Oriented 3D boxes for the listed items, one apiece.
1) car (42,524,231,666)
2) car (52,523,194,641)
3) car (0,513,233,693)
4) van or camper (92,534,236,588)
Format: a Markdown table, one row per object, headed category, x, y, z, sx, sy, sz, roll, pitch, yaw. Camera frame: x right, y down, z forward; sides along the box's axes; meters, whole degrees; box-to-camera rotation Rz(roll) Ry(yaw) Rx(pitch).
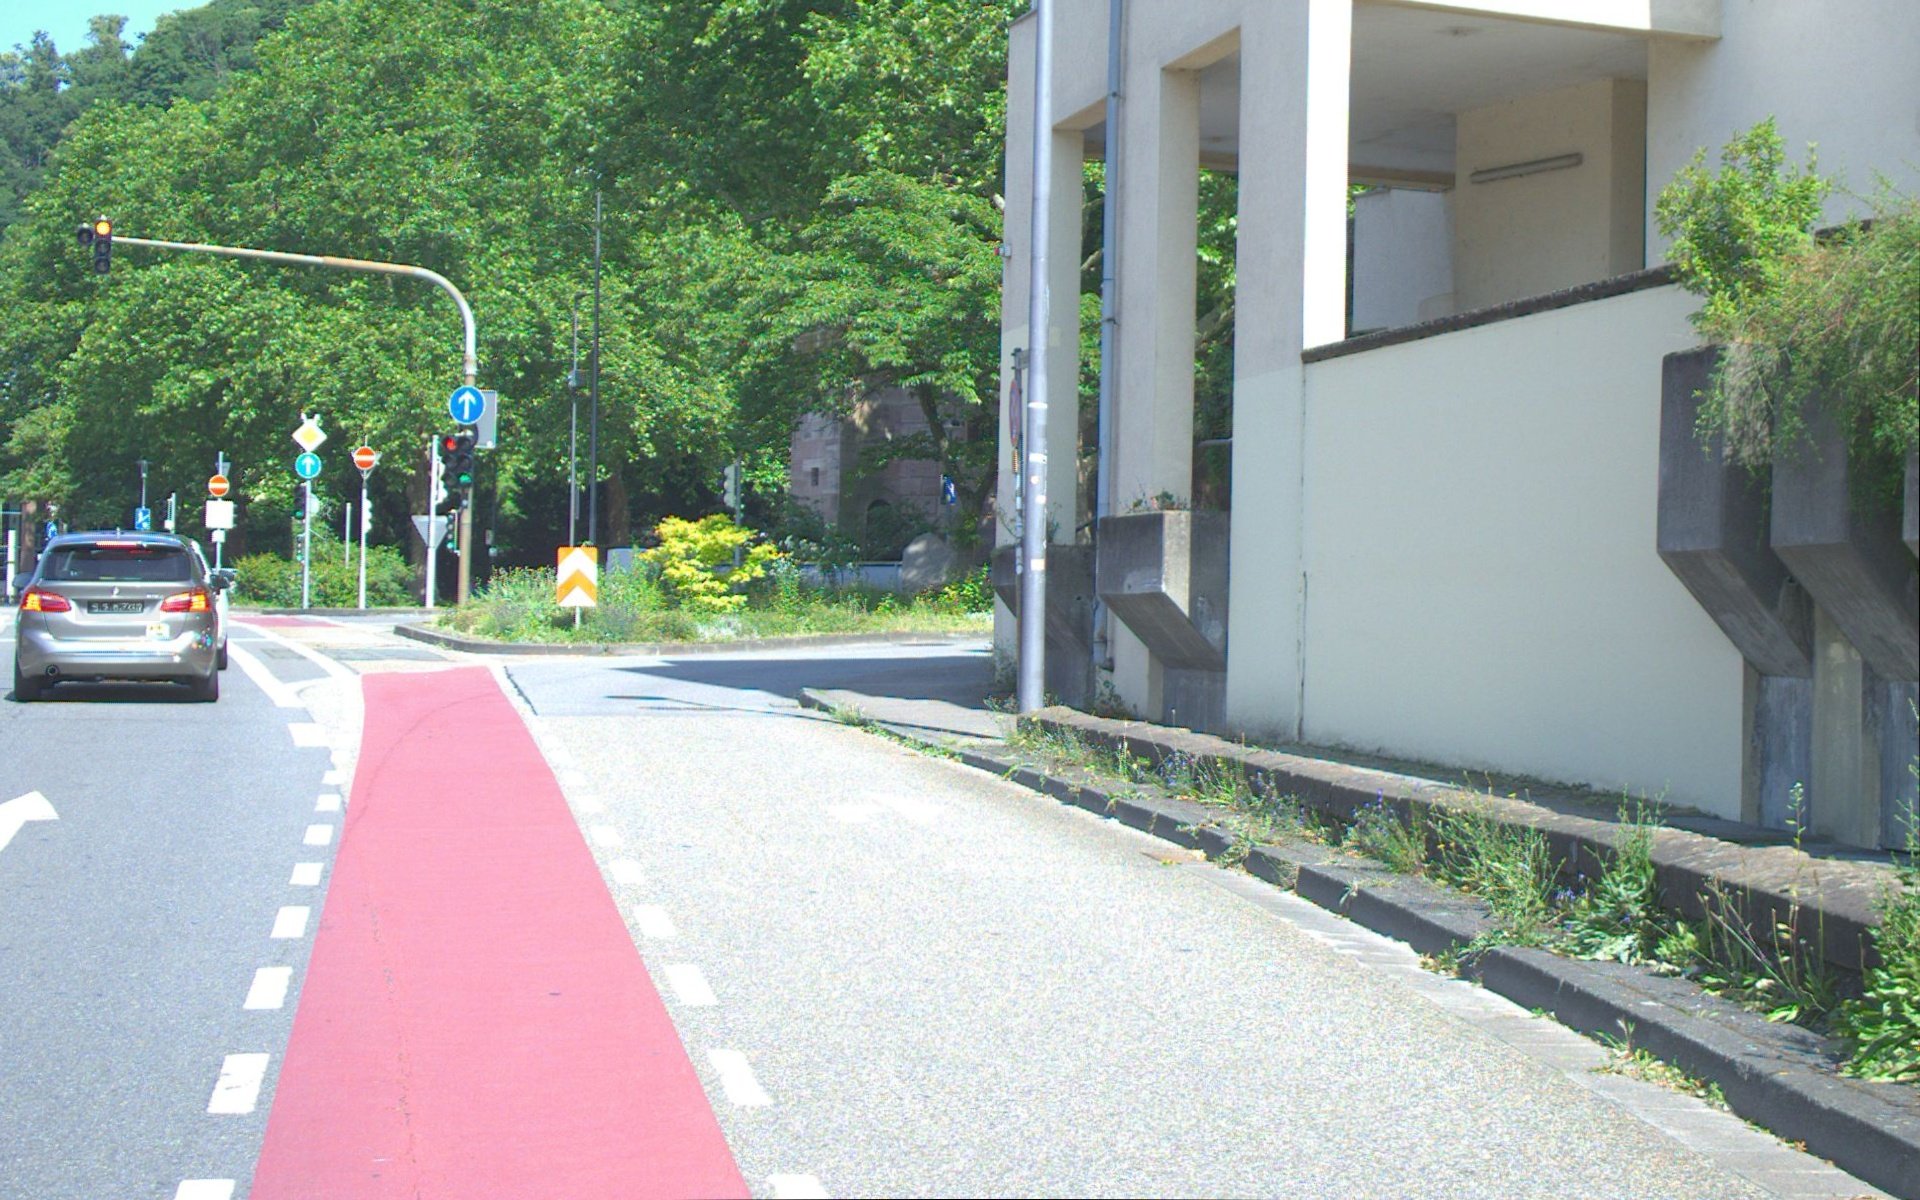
| category | x | y | z | sx | sy | sz | roll | pitch | yaw |
| --- | --- | --- | --- | --- | --- | --- | --- | --- | --- |
| car | -9.482 | -0.098 | 39.797 | 1.993 | 1.528 | 4.860 | 0 | 1 | -12 |
| car | -11.362 | -0.267 | 46.756 | 1.785 | 1.527 | 4.738 | 0 | 1 | -13 |
| car | -7.850 | 0.000 | 32.267 | 1.888 | 1.516 | 4.307 | 2 | 0 | -11 |
| van or camper | -28.045 | -1.379 | 121.135 | 4.543 | 1.895 | 2.000 | 0 | 1 | 5 |
